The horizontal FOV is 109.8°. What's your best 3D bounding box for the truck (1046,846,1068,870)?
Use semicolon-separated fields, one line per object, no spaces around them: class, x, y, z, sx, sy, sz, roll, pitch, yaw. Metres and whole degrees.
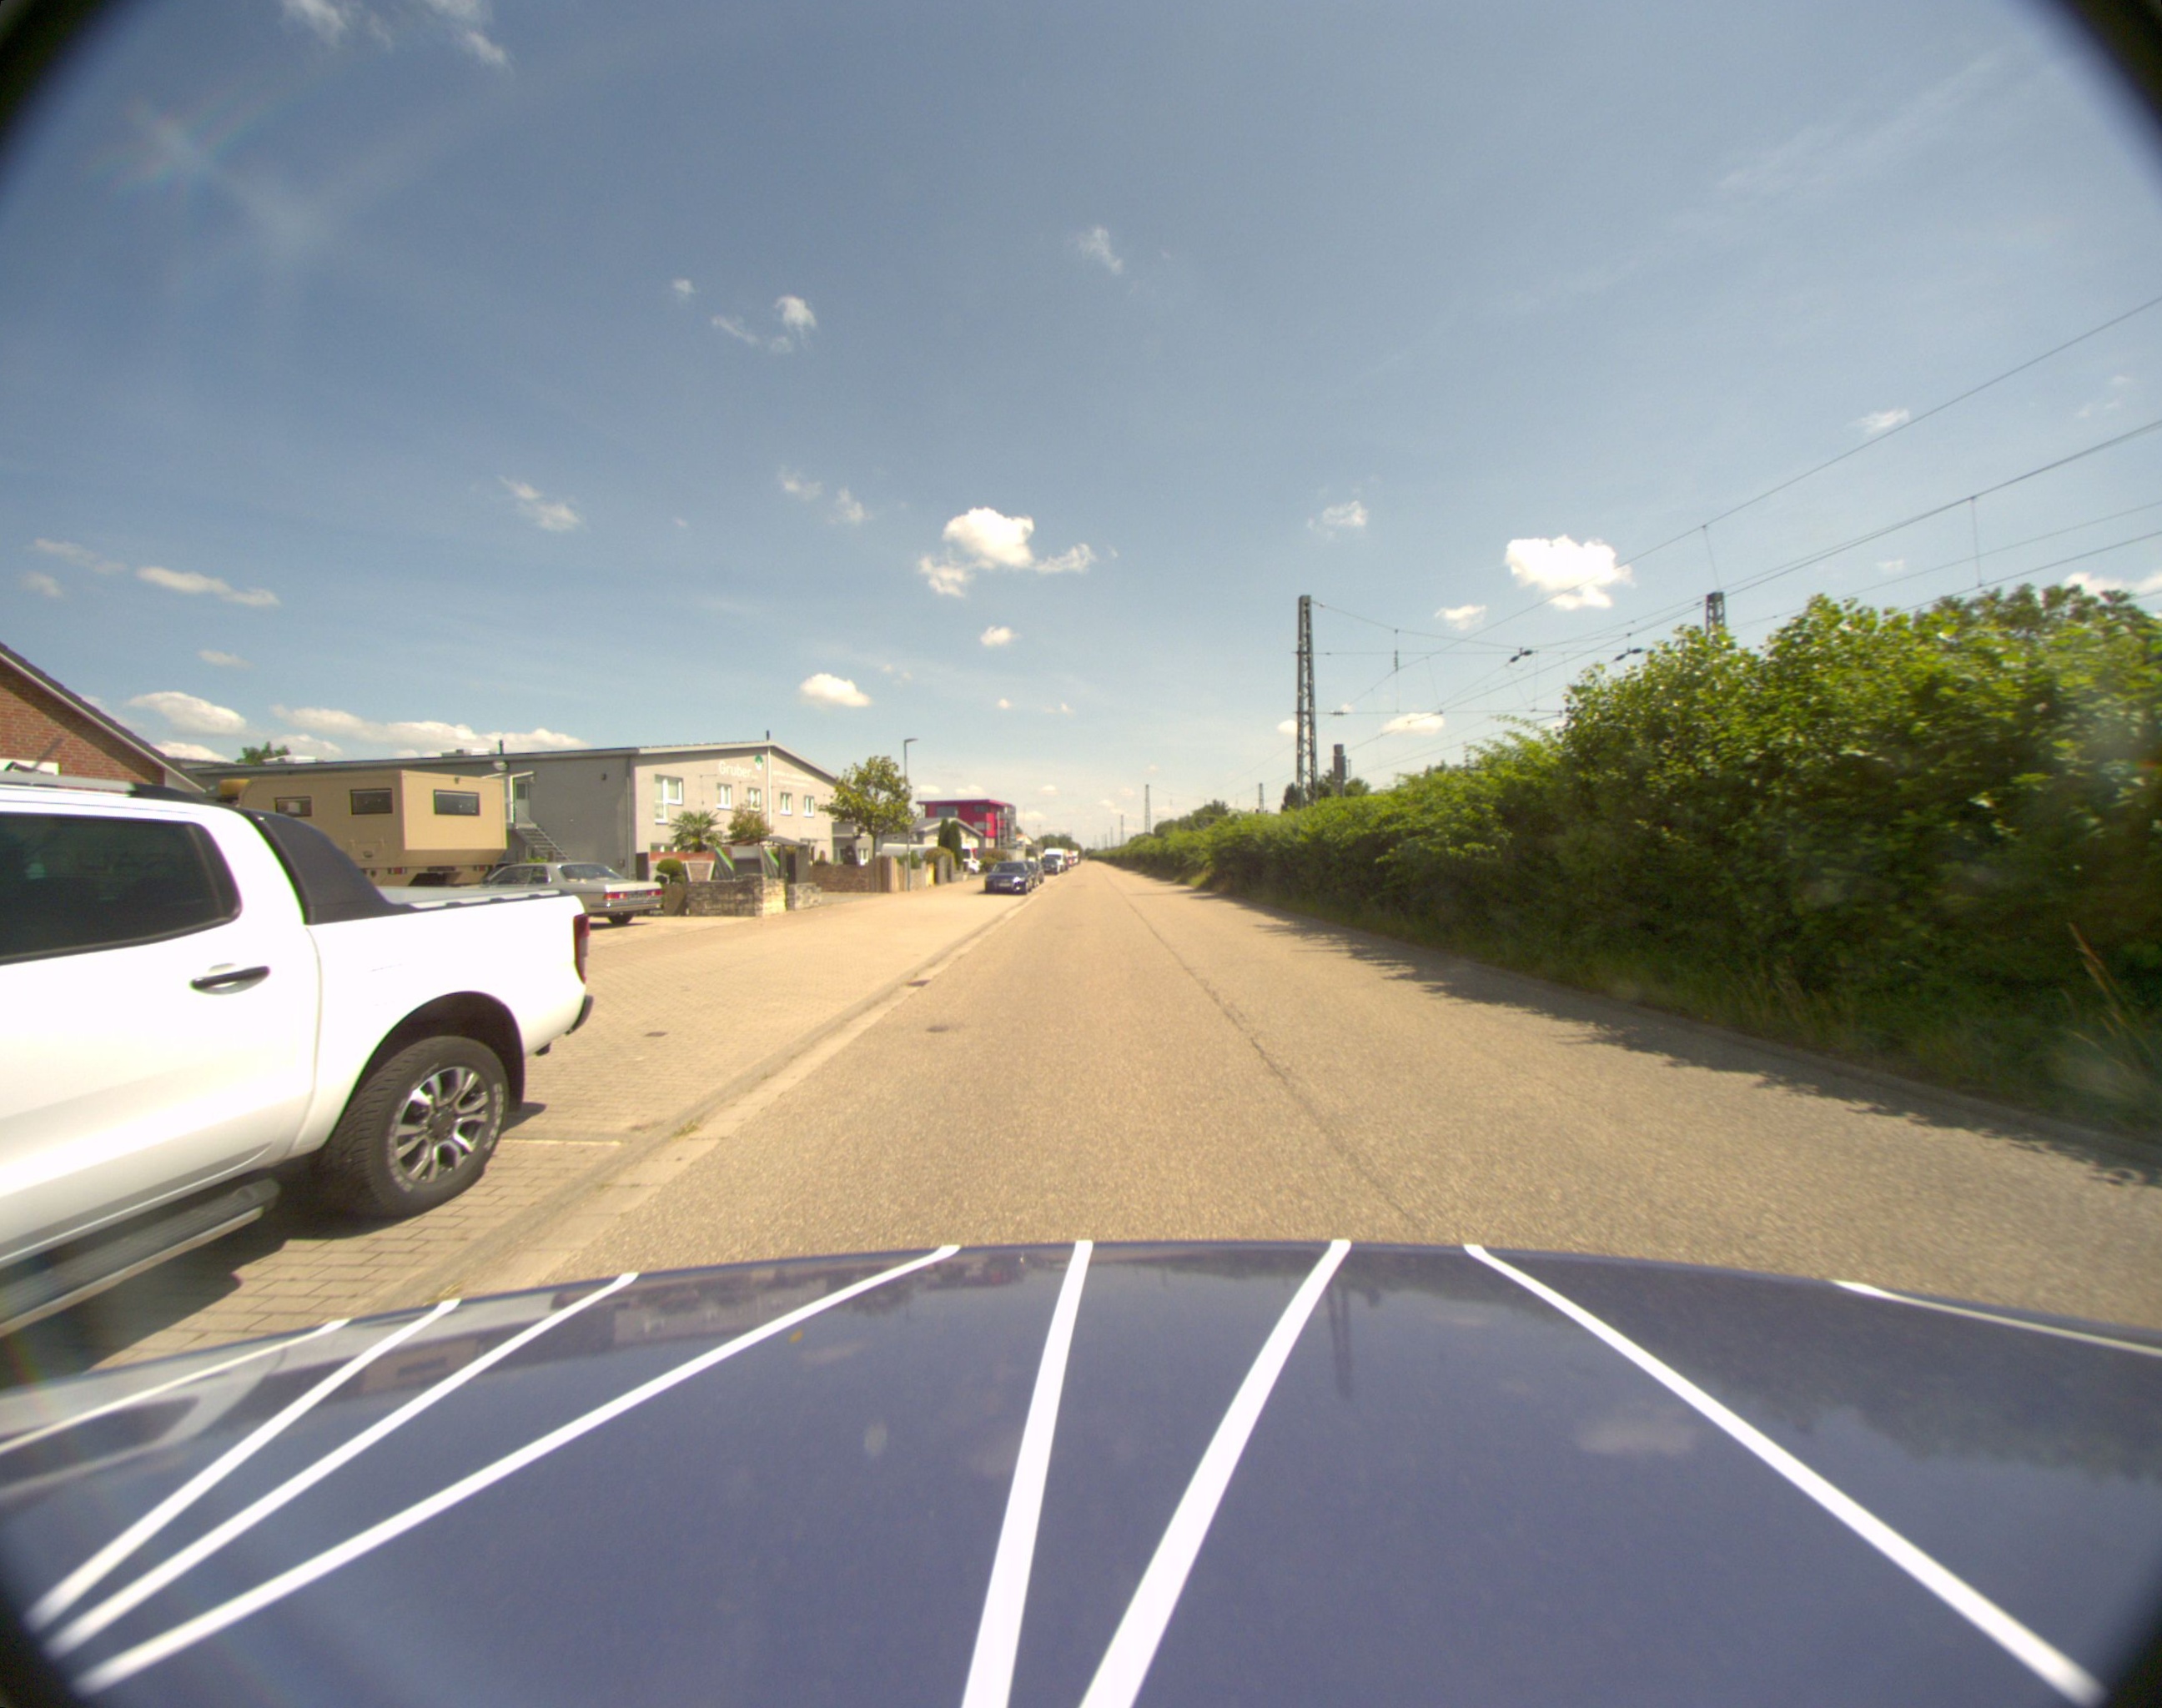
truck;-2.538;0.405;80.616;1.998;2.550;5.289;0;0;2

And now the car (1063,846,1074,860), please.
car;-2.107;-0.165;129.628;1.742;2.258;4.019;-2;1;1

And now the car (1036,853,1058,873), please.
car;-3.042;0.807;68.584;1.805;1.692;4.000;1;0;1

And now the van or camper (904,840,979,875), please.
van or camper;-10.363;0.290;56.702;5.098;2.519;2.002;0;0;14

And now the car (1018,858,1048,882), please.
car;-3.038;0.978;48.646;1.618;1.415;4.195;0;0;1

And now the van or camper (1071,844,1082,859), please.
van or camper;-1.030;-0.622;180.383;2.333;3.497;4.770;-3;1;1

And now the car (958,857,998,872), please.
car;-10.177;1.020;75.505;3.702;1.478;1.714;0;0;1

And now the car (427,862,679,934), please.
car;-11.303;0.910;16.408;4.275;1.412;1.978;-1;0;10

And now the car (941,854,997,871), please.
car;-9.931;0.758;67.538;4.605;1.478;1.714;0;0;1

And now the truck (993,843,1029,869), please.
truck;-7.352;0.196;80.274;2.381;2.673;5.787;0;0;10

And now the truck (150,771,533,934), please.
truck;-17.035;-0.005;17.765;6.473;3.368;3.108;-1;0;9

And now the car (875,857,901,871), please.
car;-19.257;0.970;75.888;1.453;1.397;2.830;0;0;9

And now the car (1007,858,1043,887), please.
car;-2.955;0.972;40.753;1.618;1.464;3.875;0;0;1

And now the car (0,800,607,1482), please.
car;-3.789;0.759;1.813;1.852;1.804;5.425;0;0;1

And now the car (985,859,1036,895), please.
car;-3.082;0.963;33.956;1.766;1.464;4.718;0;0;1

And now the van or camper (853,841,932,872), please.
van or camper;-15.109;0.191;60.980;5.832;2.423;2.136;0;0;11

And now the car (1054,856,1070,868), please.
car;-2.324;0.945;93.925;1.805;1.361;3.756;-3;0;1

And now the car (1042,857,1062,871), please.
car;-2.798;0.980;74.867;1.805;1.410;3.757;0;-1;1

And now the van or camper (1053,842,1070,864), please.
van or camper;-2.645;-0.171;103.744;1.998;2.854;4.395;-2;1;1
